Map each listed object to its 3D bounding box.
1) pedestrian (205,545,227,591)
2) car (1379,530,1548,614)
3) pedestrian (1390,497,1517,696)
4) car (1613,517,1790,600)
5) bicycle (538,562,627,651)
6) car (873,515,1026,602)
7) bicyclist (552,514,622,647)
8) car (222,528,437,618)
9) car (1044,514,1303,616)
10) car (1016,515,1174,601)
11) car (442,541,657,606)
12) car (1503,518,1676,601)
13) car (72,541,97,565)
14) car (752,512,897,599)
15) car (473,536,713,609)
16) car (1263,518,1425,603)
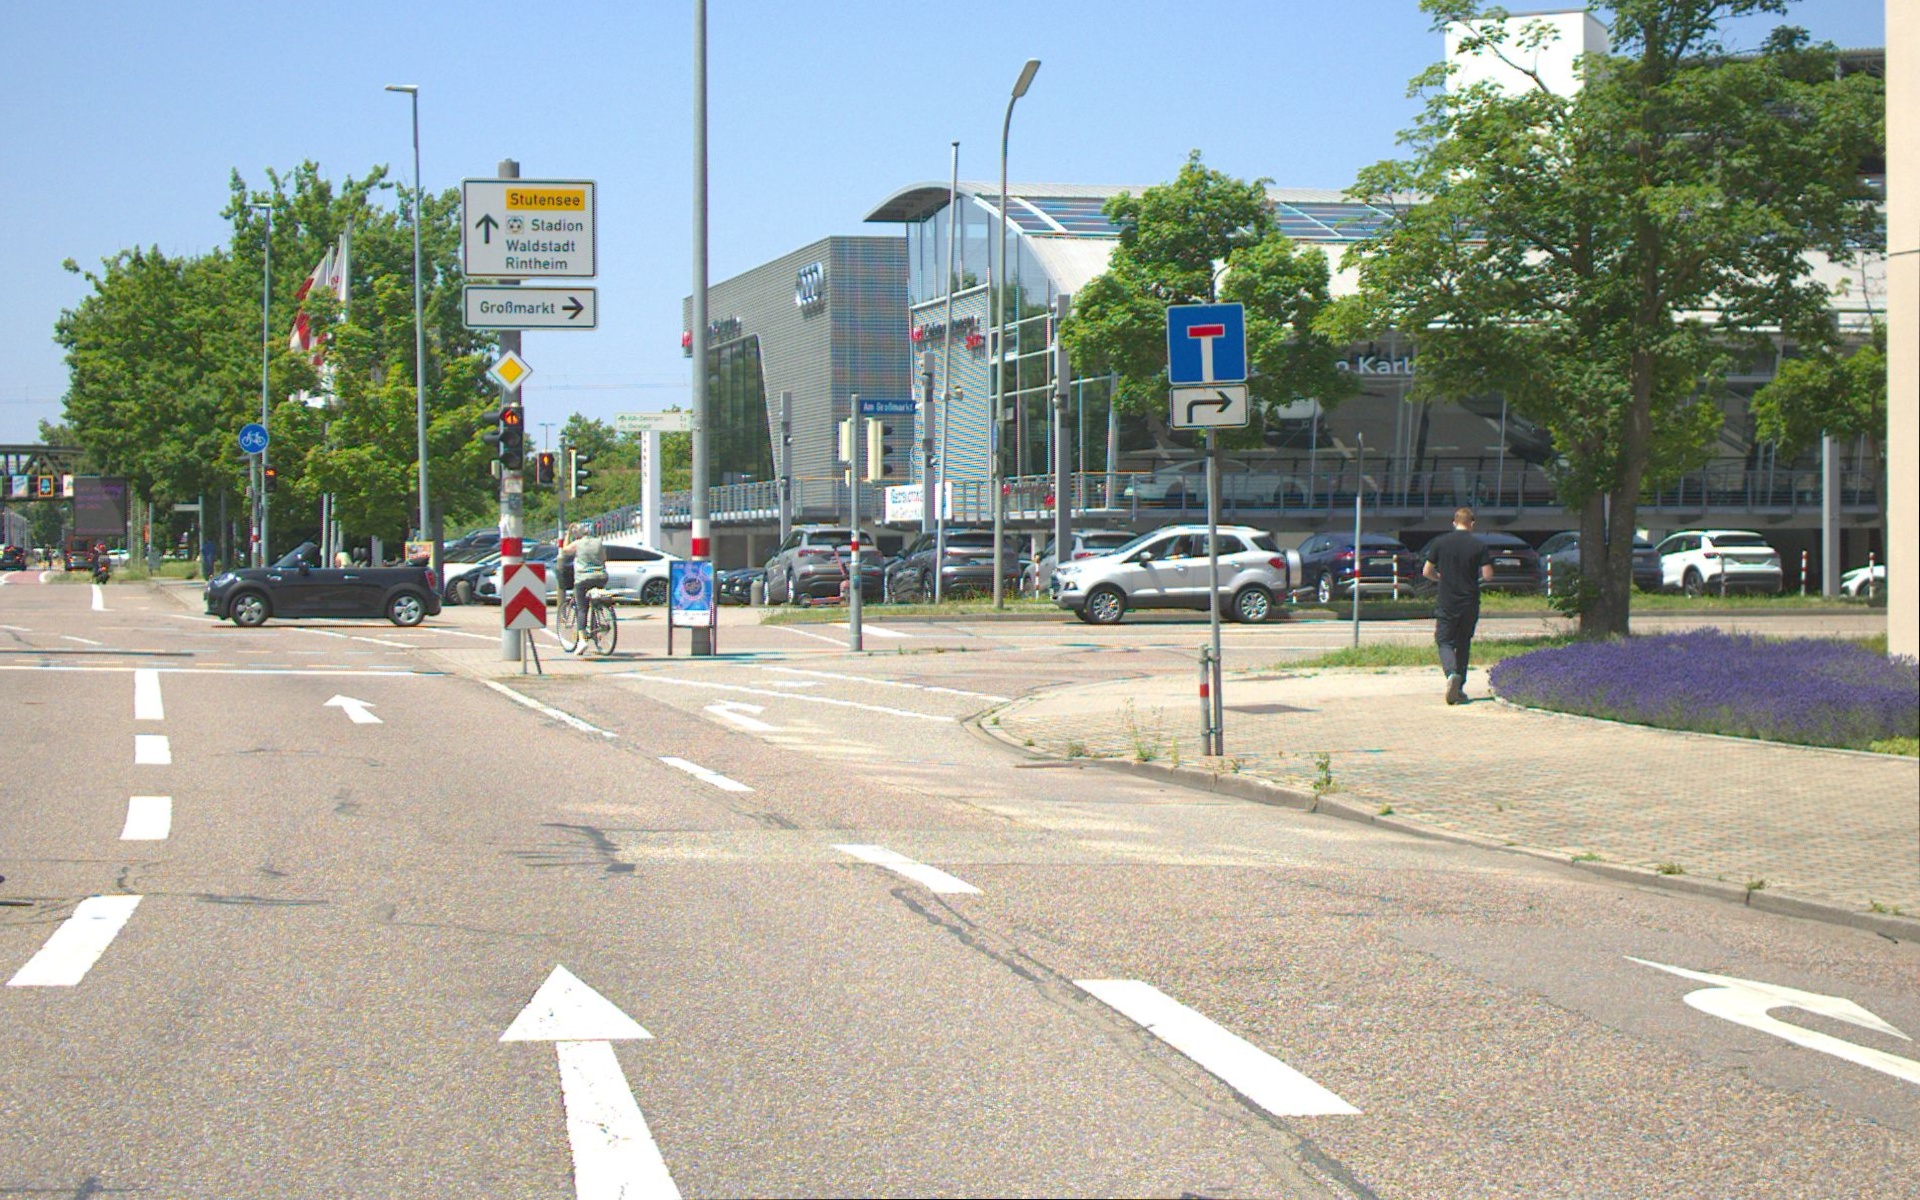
[{"bbox_3d":[-24.445,-1.042,113.014,0.667,1.505,0.736,0,1,-14],"label":"pedestrian"},{"bbox_3d":[10.387,-0.608,71.242,1.827,1.634,4.476,0,2,-15],"label":"car"},{"bbox_3d":[4.669,-0.037,32.518,0.866,1.838,0.773,-2,1,-41],"label":"pedestrian"},{"bbox_3d":[15.594,-0.904,72.540,1.827,1.634,4.476,-1,2,-14],"label":"car"},{"bbox_3d":[-5.031,0.078,45.763,0.786,1.123,1.921,1,2,-18],"label":"bicycle"},{"bbox_3d":[-0.255,-0.862,68.548,1.993,1.634,4.559,-1,2,-14],"label":"car"},{"bbox_3d":[-4.941,-0.263,45.511,0.733,1.743,0.754,1,1,-18],"label":"bicyclist"},{"bbox_3d":[-10.244,-0.448,56.016,3.367,1.353,1.624,1,2,-8],"label":"car"},{"bbox_3d":[3.596,-0.600,58.418,4.194,1.646,1.715,-1,1,-4],"label":"car"},{"bbox_3d":[2.673,-0.882,69.373,1.993,1.634,4.443,-1,2,-14],"label":"car"},{"bbox_3d":[-9.591,-0.633,80.226,4.740,1.452,2.001,0,2,-16],"label":"car"},{"bbox_3d":[13.064,-0.870,71.623,1.827,1.634,4.476,-1,2,-14],"label":"car"},{"bbox_3d":[-63.728,-3.392,250.210,1.771,1.722,4.001,-1,1,-14],"label":"car"},{"bbox_3d":[-2.711,-0.903,67.778,1.993,1.634,4.270,0,2,-14],"label":"car"},{"bbox_3d":[-7.613,-0.579,71.156,4.740,1.452,2.001,0,2,-12],"label":"car"},{"bbox_3d":[7.844,-0.838,70.589,1.827,1.634,4.476,-1,2,-14],"label":"car"}]
